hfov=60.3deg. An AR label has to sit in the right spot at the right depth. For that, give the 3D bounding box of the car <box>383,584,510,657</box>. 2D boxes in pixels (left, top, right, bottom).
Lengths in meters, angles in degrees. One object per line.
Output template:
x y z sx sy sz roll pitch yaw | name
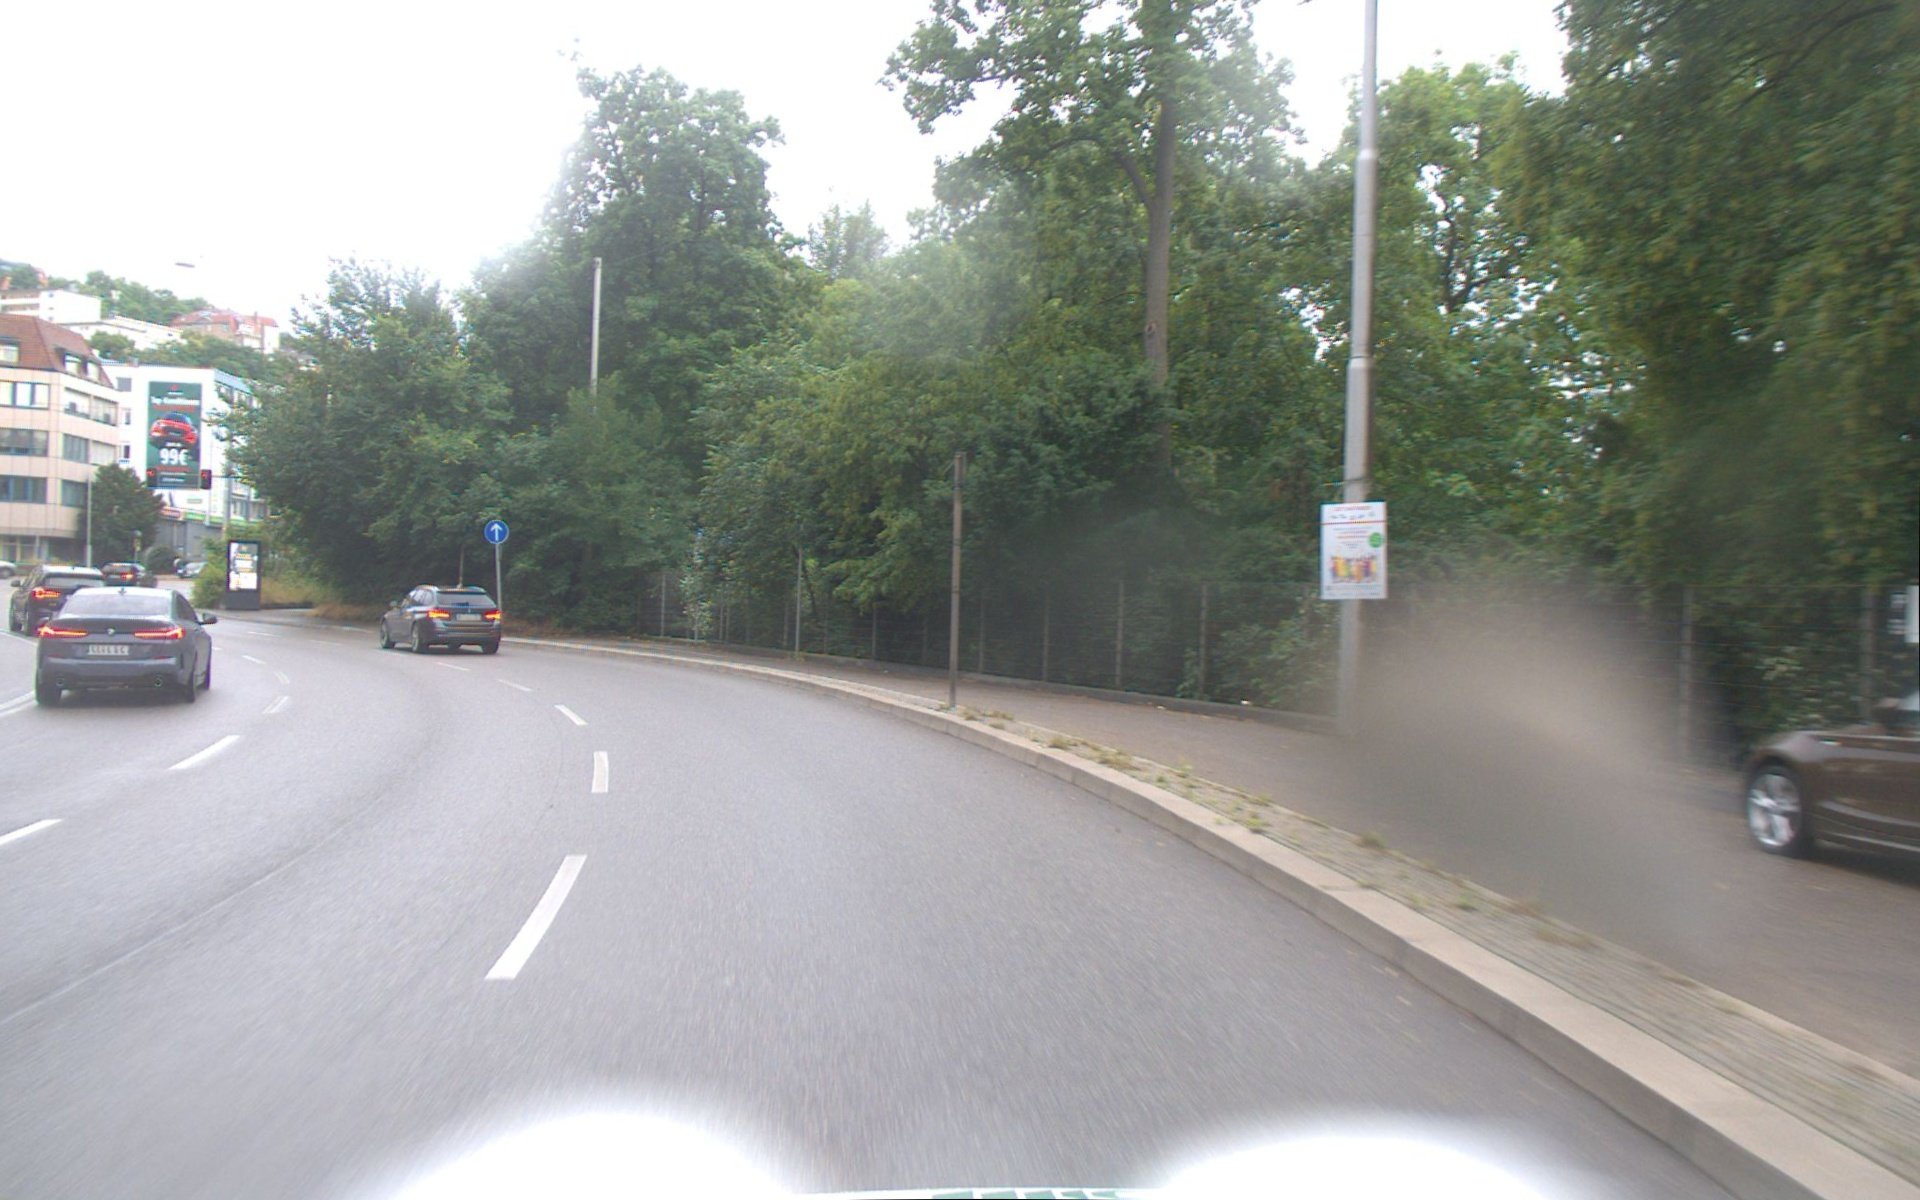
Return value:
-11.535 0.494 36.973 1.740 1.458 4.365 0 -3 -31 | car

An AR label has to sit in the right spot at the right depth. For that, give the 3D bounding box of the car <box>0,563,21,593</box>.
-56.907 -1.301 95.946 1.637 1.758 3.973 1 0 43 | car

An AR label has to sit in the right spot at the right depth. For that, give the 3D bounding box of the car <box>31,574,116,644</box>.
-21.677 0.195 40.392 1.739 1.613 4.369 0 0 -29 | car

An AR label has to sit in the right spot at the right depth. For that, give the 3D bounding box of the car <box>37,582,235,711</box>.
-10.790 0.541 21.948 1.639 1.439 4.517 1 1 -18 | car

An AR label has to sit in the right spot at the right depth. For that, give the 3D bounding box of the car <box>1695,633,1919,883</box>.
6.680 1.057 10.296 1.656 1.451 4.362 4 0 -9 | car

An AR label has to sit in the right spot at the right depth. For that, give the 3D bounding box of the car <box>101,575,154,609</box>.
-43.255 -0.402 86.012 1.802 1.680 3.979 1 0 -18 | car
